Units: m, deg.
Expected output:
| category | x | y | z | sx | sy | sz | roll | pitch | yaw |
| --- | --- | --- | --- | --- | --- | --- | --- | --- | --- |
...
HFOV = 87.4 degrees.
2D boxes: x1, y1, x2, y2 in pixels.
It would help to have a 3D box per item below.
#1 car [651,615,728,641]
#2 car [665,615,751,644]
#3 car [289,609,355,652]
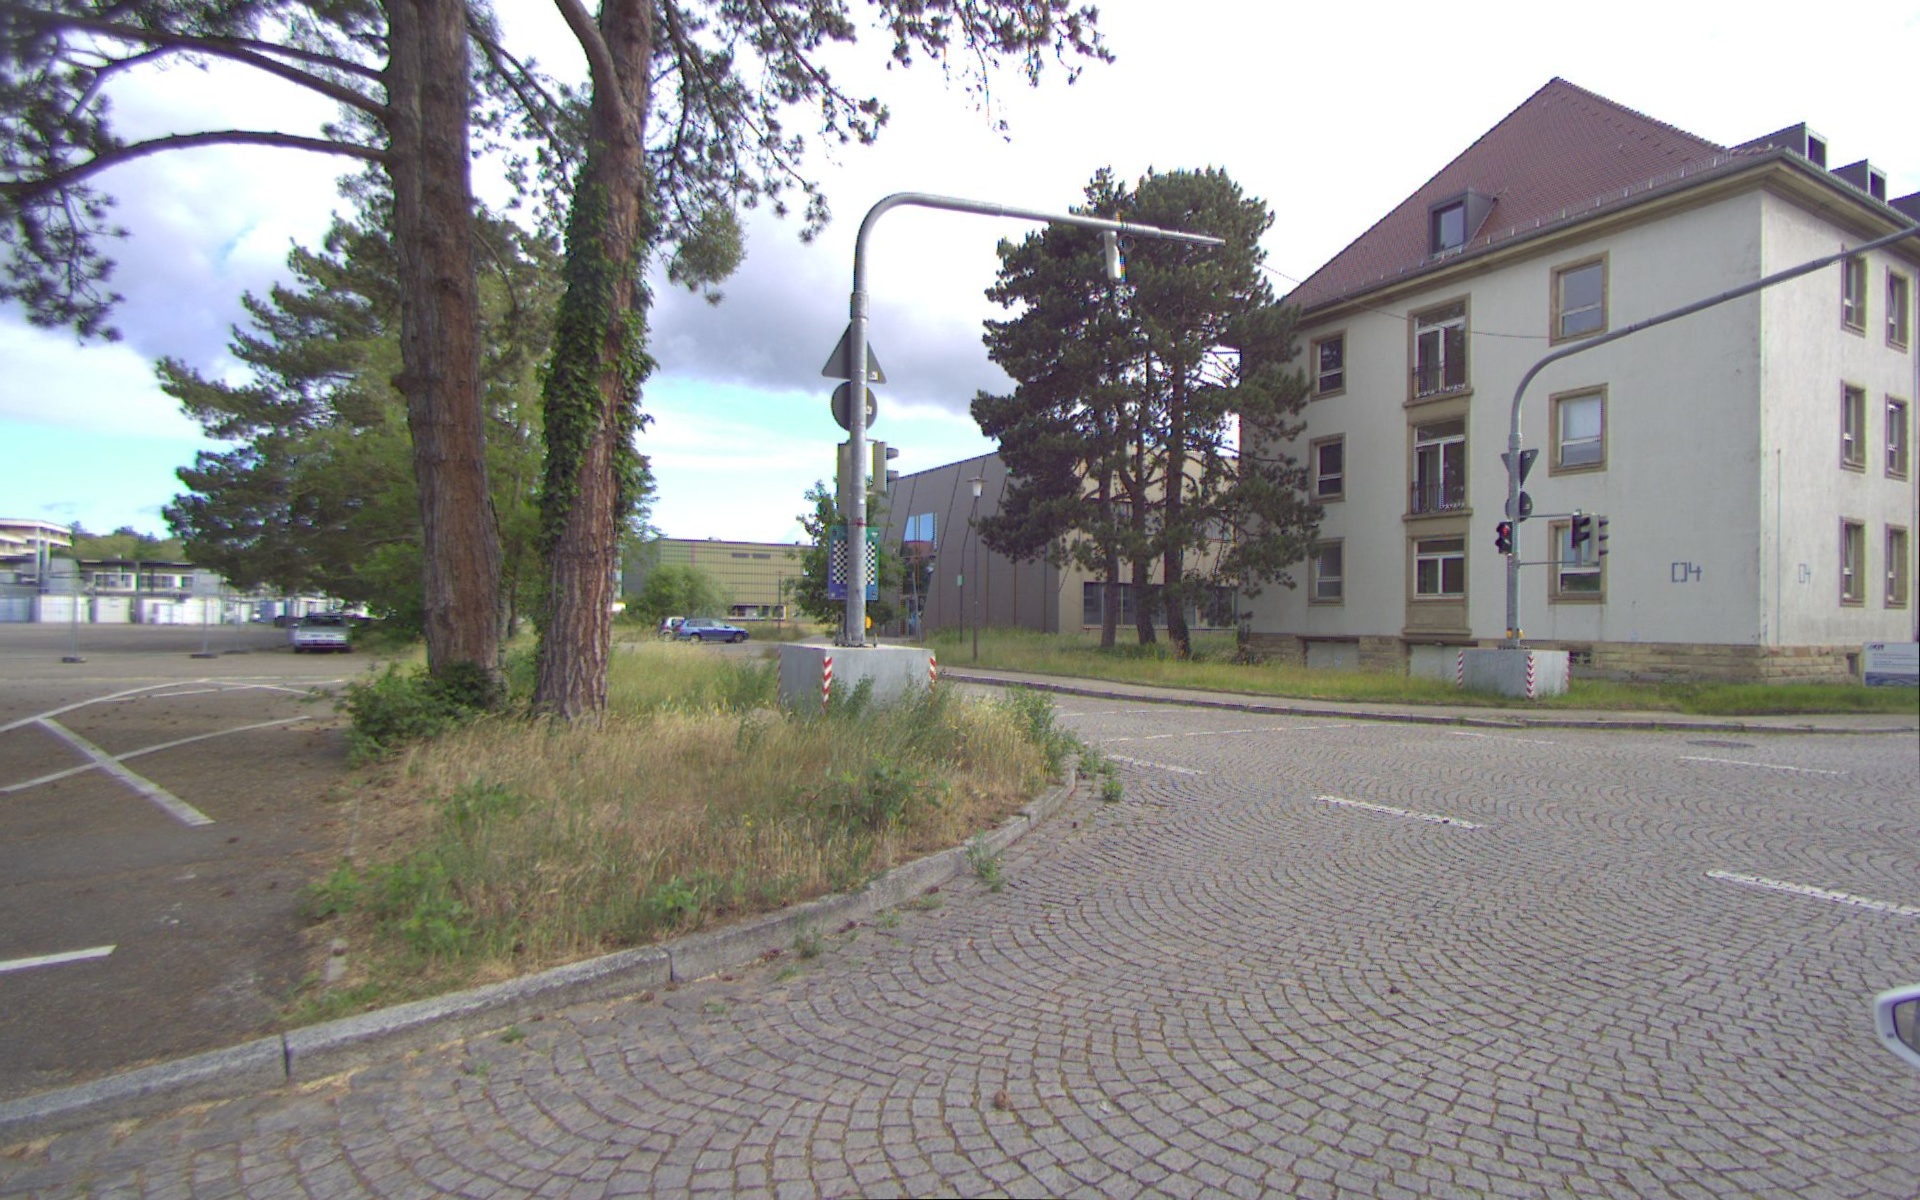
| category | x | y | z | sx | sy | sz | roll | pitch | yaw |
| --- | --- | --- | --- | --- | --- | --- | --- | --- | --- |
| car | -17.651 | 1.800 | 65.568 | 4.478 | 1.552 | 1.984 | 0 | 0 | -30 |
| car | -14.712 | 1.710 | 58.745 | 4.484 | 1.552 | 1.982 | 0 | 0 | -34 |
| car | -23.289 | 1.083 | 36.722 | 1.904 | 1.496 | 4.330 | 2 | -1 | -32 |
